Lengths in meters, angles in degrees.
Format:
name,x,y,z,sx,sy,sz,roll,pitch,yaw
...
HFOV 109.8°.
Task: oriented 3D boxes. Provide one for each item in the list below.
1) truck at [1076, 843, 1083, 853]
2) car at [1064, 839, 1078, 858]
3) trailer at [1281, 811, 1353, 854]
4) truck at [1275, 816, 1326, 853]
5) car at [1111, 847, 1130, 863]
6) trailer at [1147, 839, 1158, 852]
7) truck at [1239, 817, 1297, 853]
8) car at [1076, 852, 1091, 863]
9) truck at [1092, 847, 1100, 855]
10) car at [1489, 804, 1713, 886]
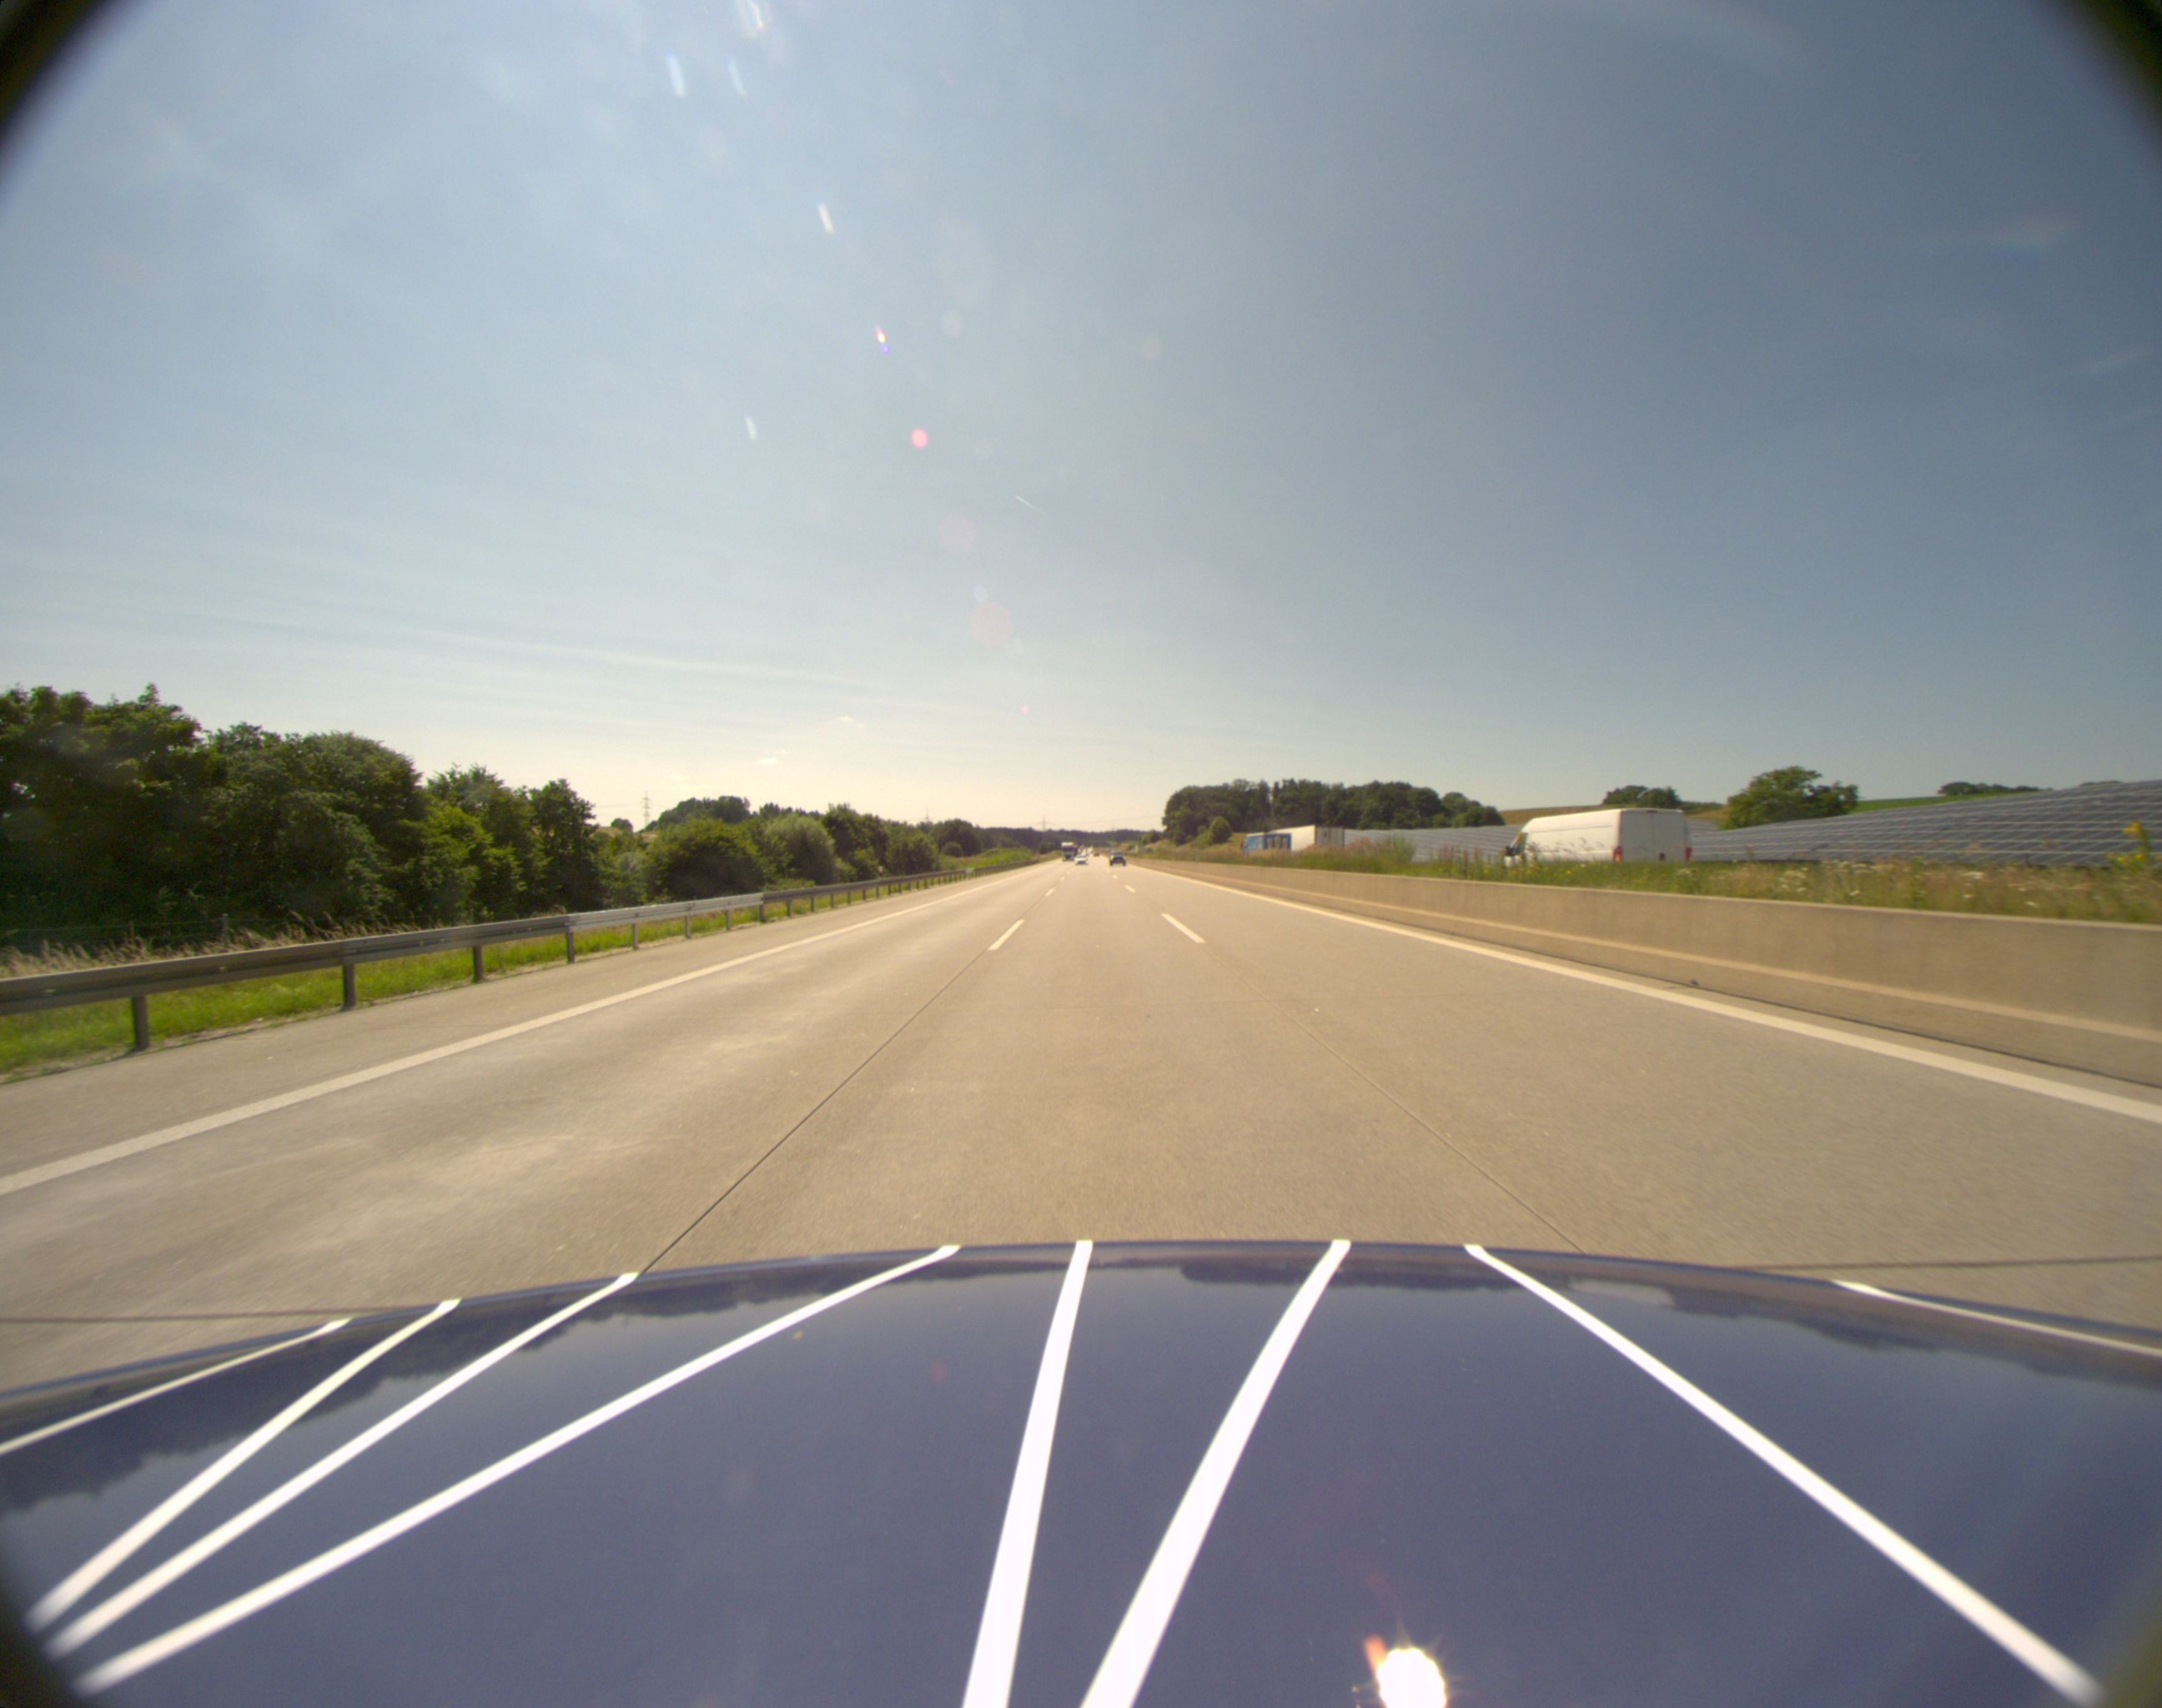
name,x,y,z,sx,sy,sz,roll,pitch,yaw
truck,-0.580,-2.083,260.374,2.351,3.474,5.245,-1,1,0
car,-2.187,-1.220,170.476,2.766,4.029,10.851,-1,1,1
trailer,21.823,-1.944,71.183,3.082,3.504,11.762,-3,1,1
truck,21.929,-1.912,76.278,3.130,3.467,6.884,-3,1,1
car,4.855,0.074,93.816,1.998,1.836,6.529,-3,1,1
trailer,23.719,-2.935,254.163,2.739,4.167,10.256,-2,0,1
truck,17.510,-1.755,71.936,2.832,3.046,10.373,-3,1,0
car,0.322,0.460,111.158,2.065,1.472,5.068,-2,1,0
truck,4.842,-1.060,245.197,2.262,2.461,6.614,-2,1,1
car,14.919,-0.275,22.468,2.189,2.002,6.347,-3,1,-1
